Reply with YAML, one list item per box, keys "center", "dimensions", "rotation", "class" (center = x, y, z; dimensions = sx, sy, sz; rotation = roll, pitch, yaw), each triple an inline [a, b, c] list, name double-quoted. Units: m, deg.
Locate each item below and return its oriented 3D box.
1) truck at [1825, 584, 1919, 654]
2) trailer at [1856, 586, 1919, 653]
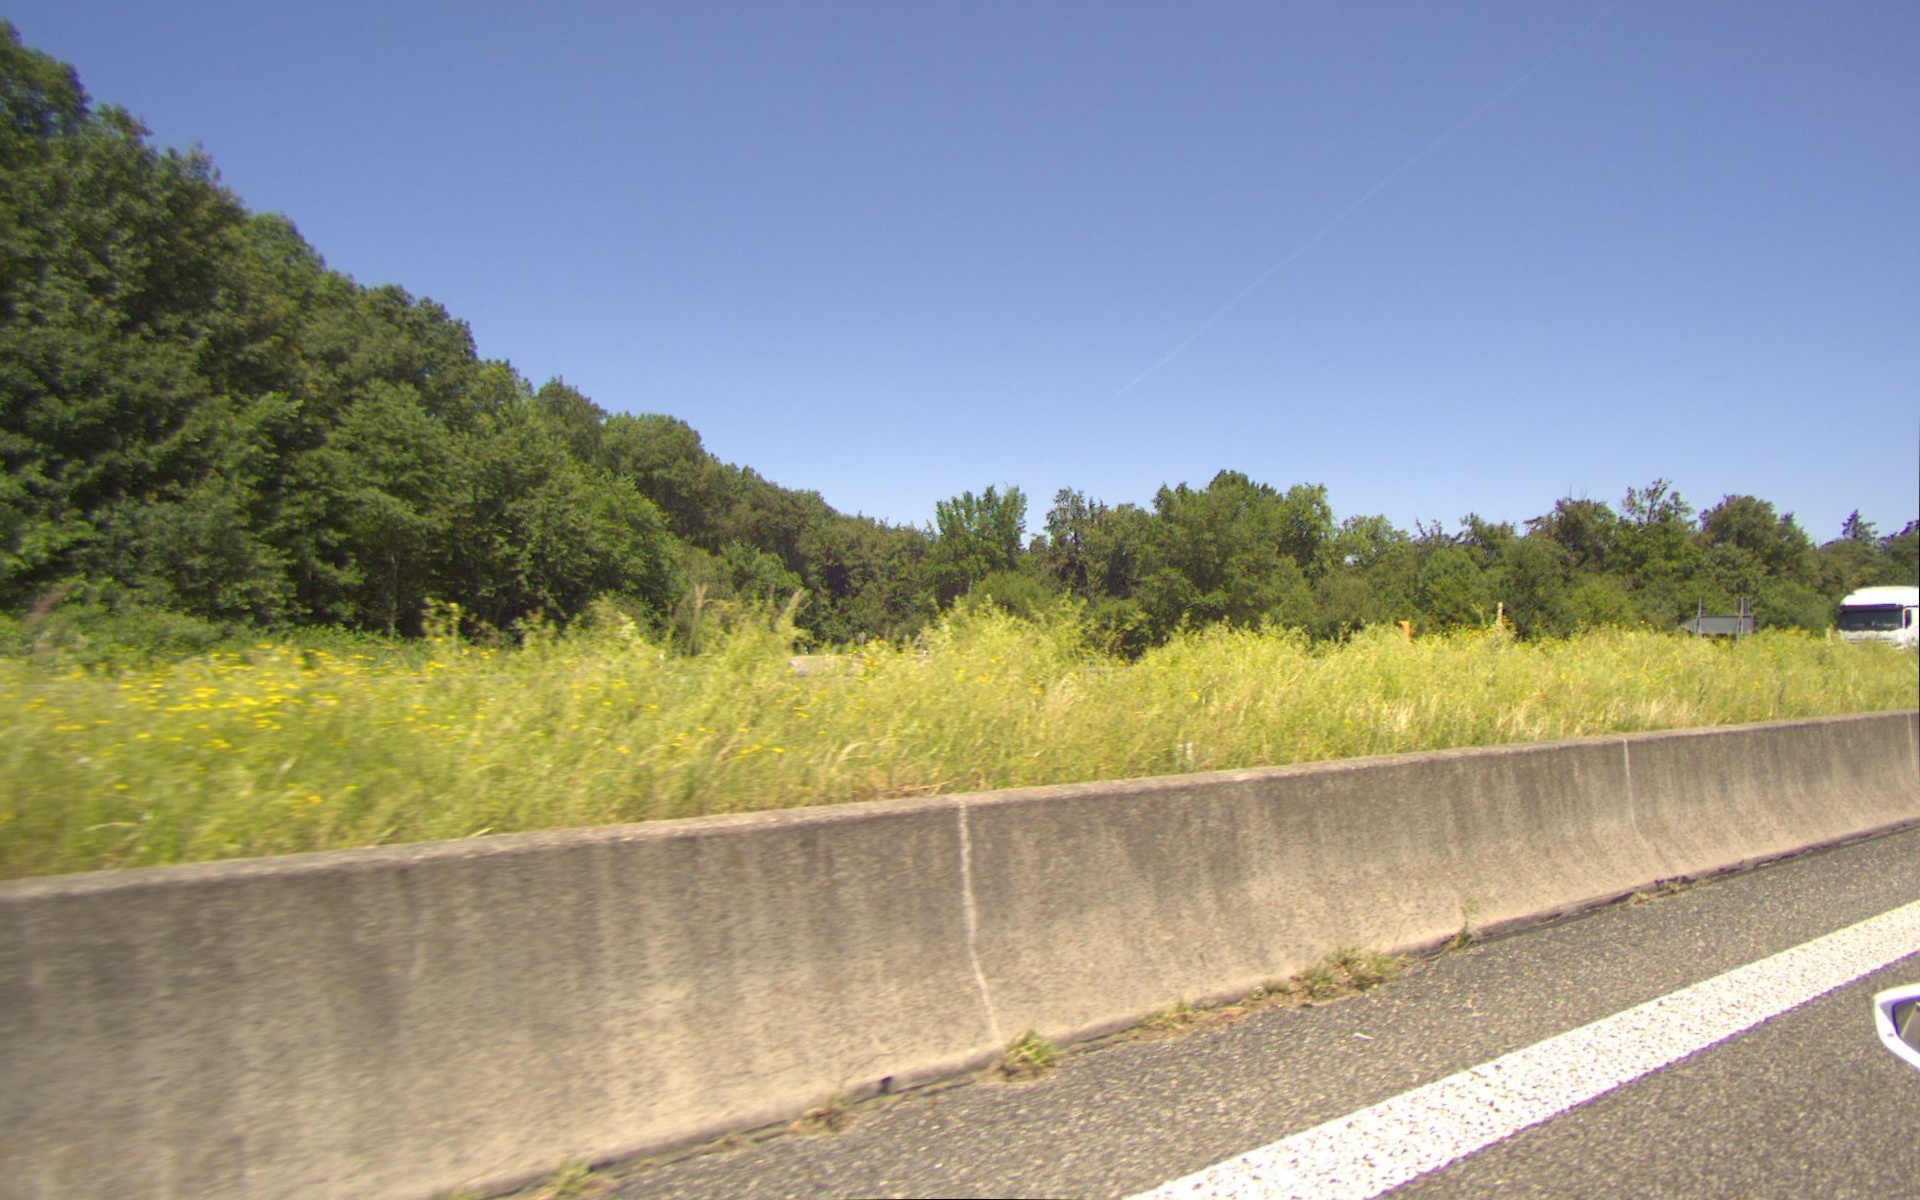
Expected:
- center: [43.756, 0.899, 47.514]
  dimensions: [5.782, 3.125, 2.629]
  rotation: [1, 0, -31]
  class: "truck"
- center: [49.503, 1.040, 51.069]
  dimensions: [11.819, 3.143, 2.587]
  rotation: [2, 0, -32]
  class: "trailer"
